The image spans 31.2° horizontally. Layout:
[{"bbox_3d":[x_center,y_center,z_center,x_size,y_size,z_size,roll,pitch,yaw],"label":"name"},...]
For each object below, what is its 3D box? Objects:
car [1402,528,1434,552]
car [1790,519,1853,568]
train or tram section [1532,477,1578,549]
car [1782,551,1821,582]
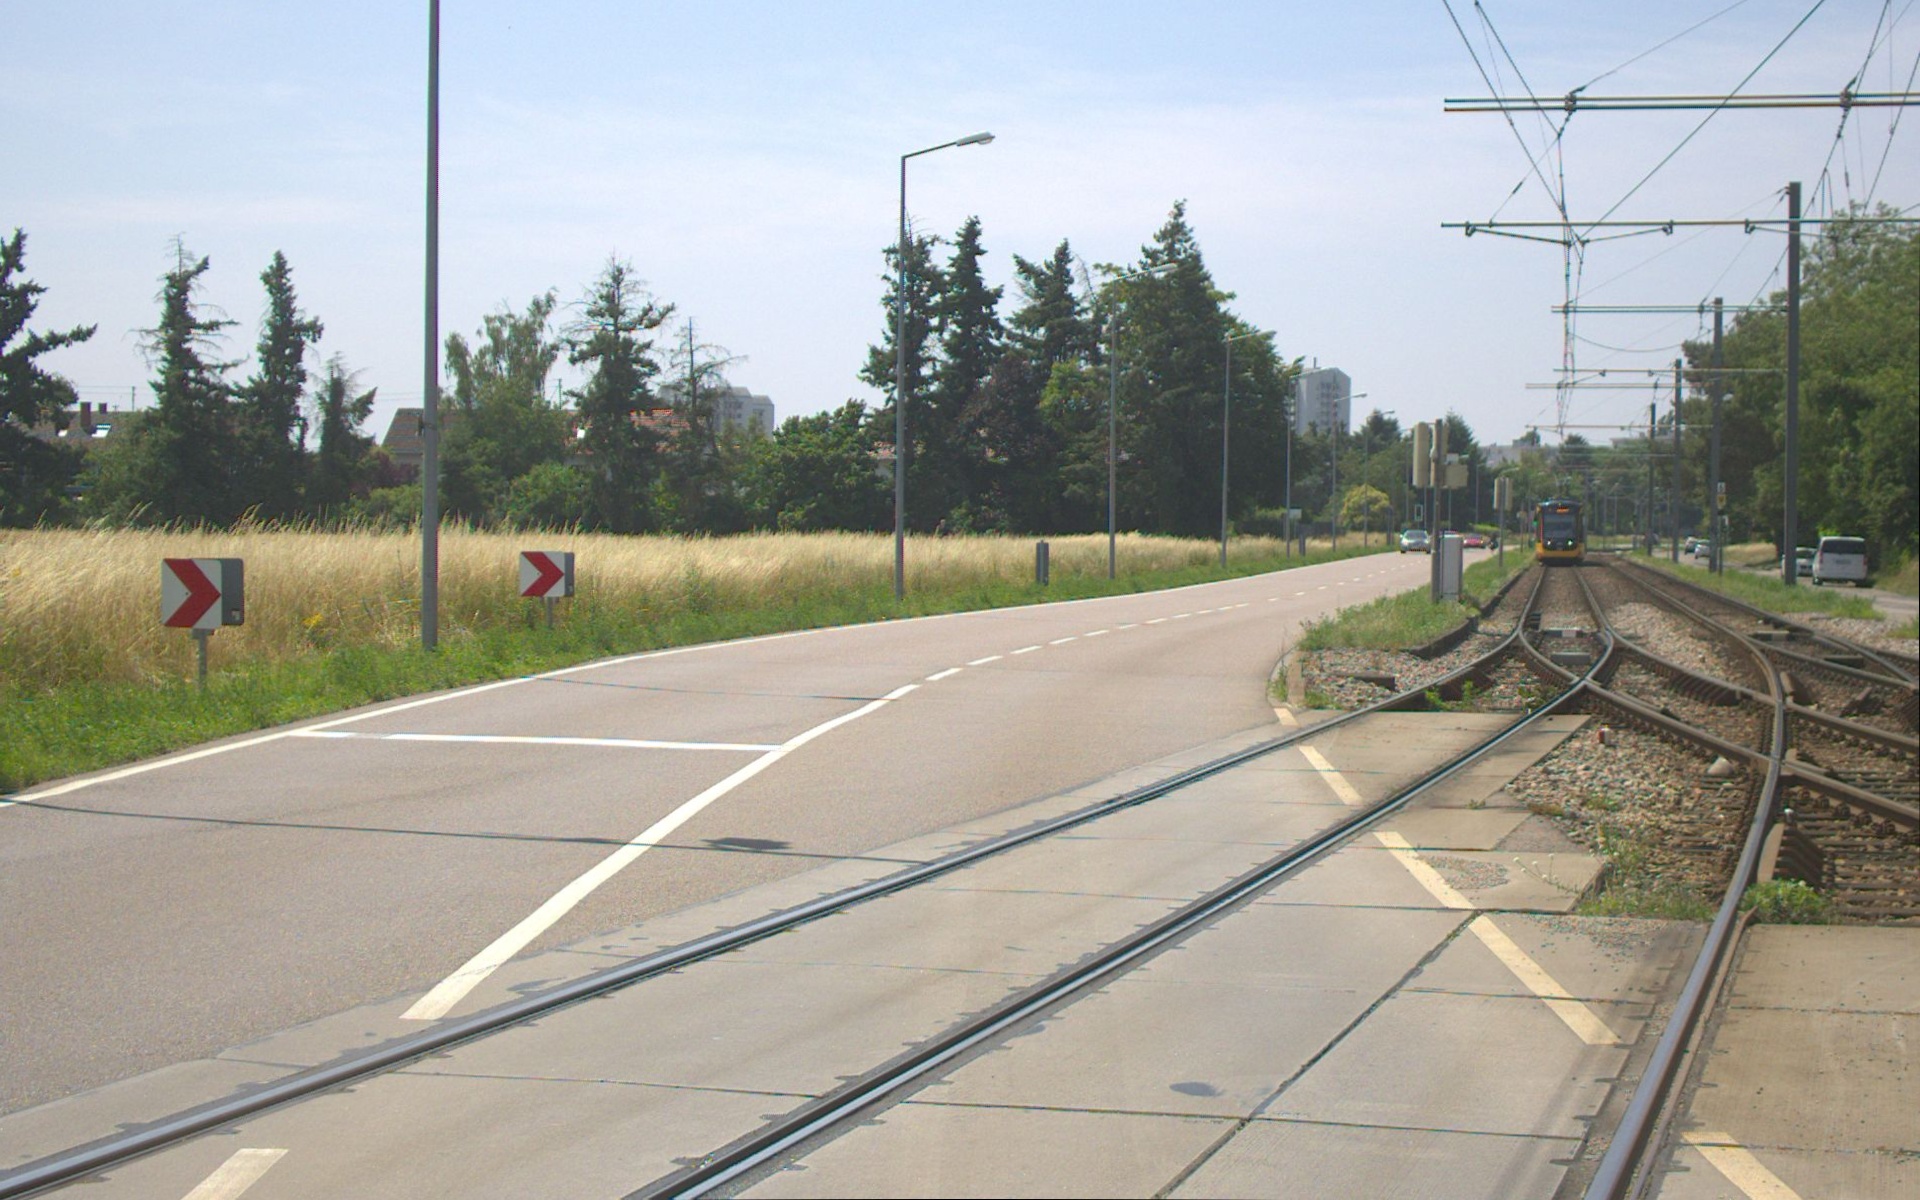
[{"bbox_3d":[29.003,-3.798,217.513,1.835,1.462,4.676,1,0,10],"label":"car"},{"bbox_3d":[33.197,-2.167,132.605,1.994,1.796,4.792,1,0,10],"label":"car"},{"bbox_3d":[33.093,-4.787,191.310,2.430,3.753,11.554,1,0,10],"label":"train or tram section"},{"bbox_3d":[37.075,-1.464,151.510,1.428,1.303,3.464,1,0,10],"label":"car"}]
